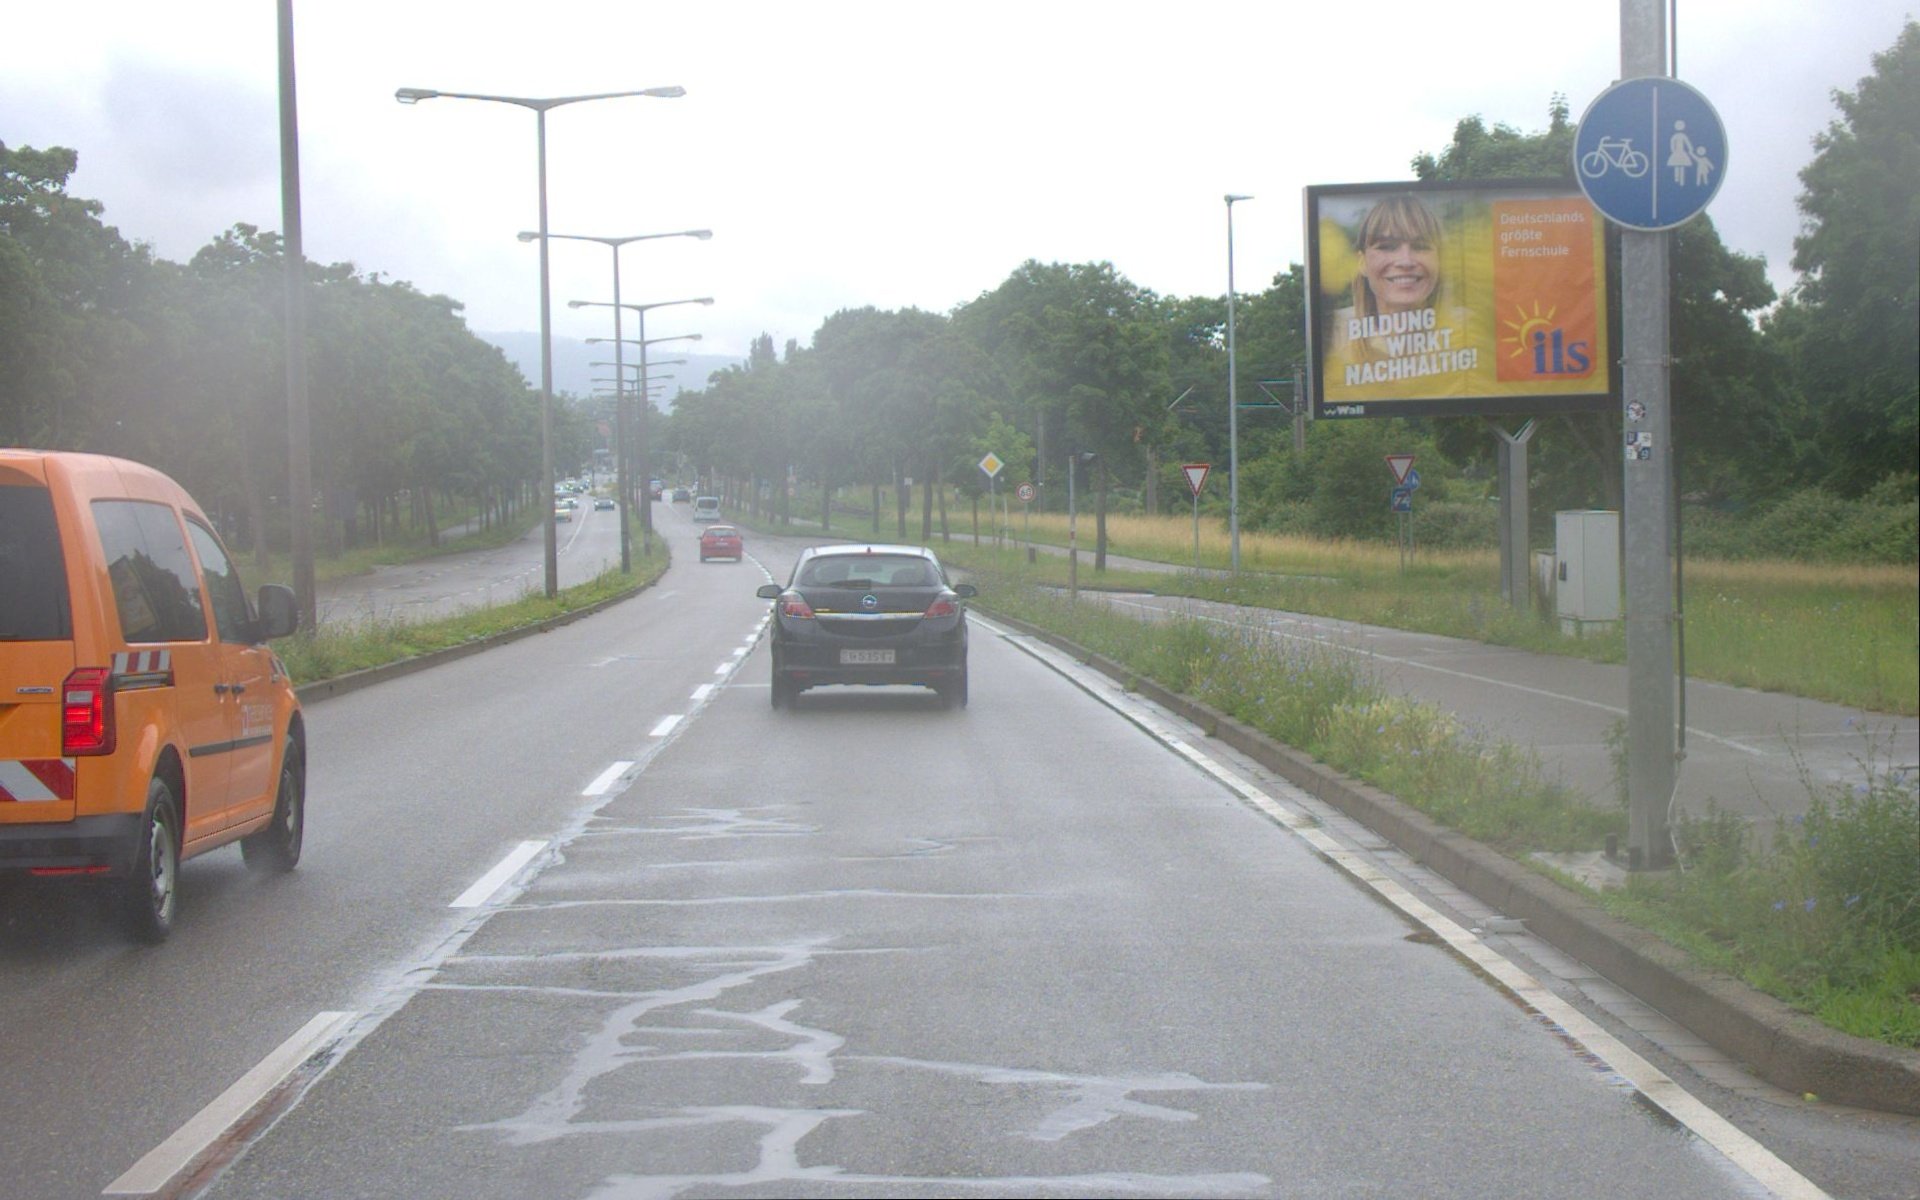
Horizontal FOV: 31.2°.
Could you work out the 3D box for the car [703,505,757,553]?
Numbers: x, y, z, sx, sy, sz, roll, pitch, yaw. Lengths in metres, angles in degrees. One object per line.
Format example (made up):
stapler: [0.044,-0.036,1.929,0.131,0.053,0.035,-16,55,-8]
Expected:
car: [-9.120,-2.824,136.709,1.993,1.873,4.000,0,1,-2]

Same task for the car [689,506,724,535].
car: [-19.009,-5.951,257.972,2.515,2.045,5.294,-1,1,-5]

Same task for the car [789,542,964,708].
car: [-0.753,0.178,30.598,1.463,1.324,3.758,0,2,-2]

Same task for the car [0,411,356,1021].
car: [-3.698,0.330,13.791,1.734,2.012,4.850,1,1,-1]
